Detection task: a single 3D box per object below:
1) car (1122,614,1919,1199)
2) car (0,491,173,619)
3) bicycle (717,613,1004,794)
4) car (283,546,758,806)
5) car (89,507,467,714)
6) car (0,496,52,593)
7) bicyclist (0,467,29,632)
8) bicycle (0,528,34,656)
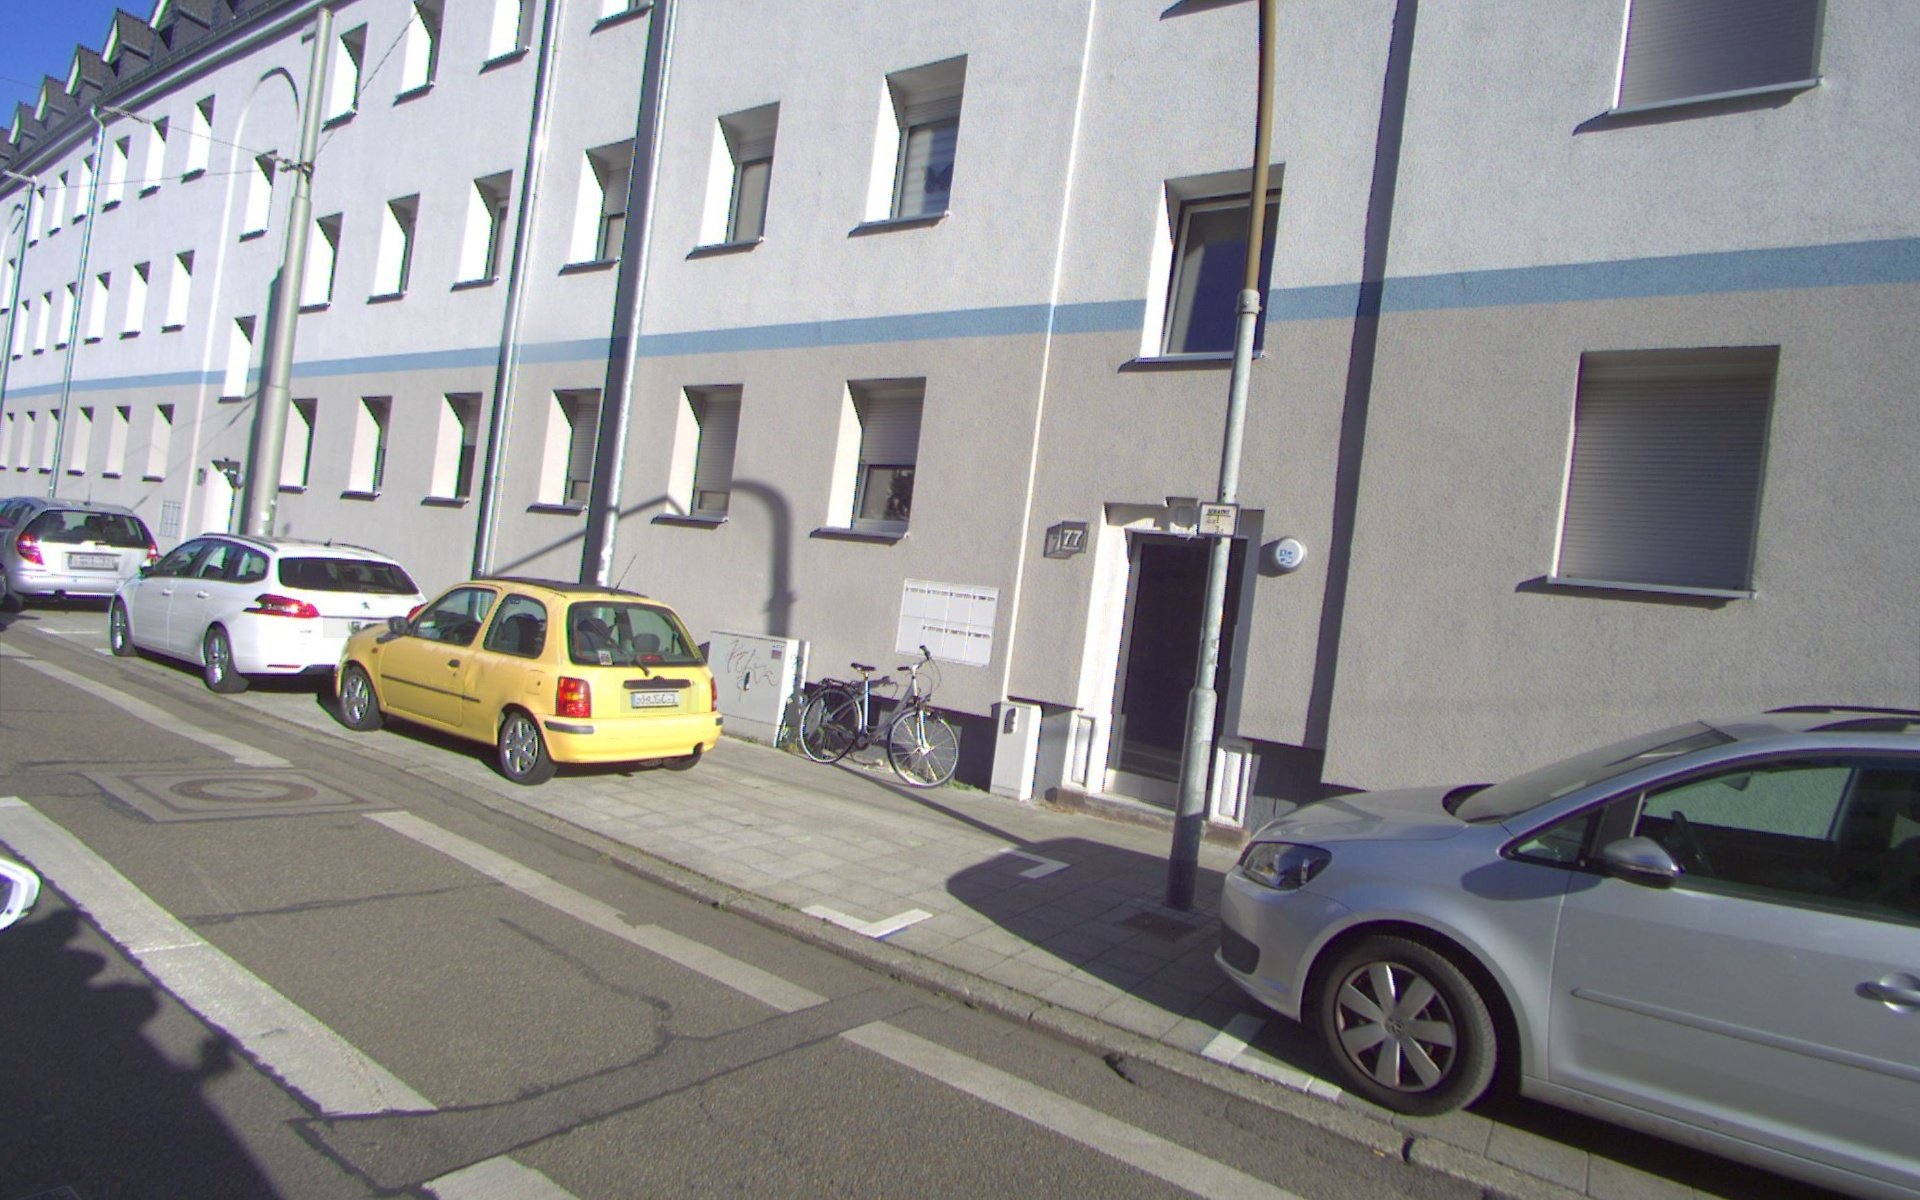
[{"bbox_3d":[3.115,1.181,3.584,4.549,1.686,1.757,7,0,31],"label":"car"},{"bbox_3d":[-13.570,-0.731,15.073,3.843,1.592,1.753,7,2,36],"label":"car"},{"bbox_3d":[-0.929,0.885,9.133,2.289,1.211,1.097,7,-1,33],"label":"bicycle"},{"bbox_3d":[-3.765,0.493,8.333,4.134,1.448,1.515,6,0,34],"label":"car"},{"bbox_3d":[-7.275,0.035,10.572,4.437,1.590,1.680,7,0,34],"label":"car"},{"bbox_3d":[-17.701,-1.132,17.801,3.945,1.557,1.591,7,1,36],"label":"car"},{"bbox_3d":[-10.532,-0.601,10.435,0.954,1.696,0.935,7,-1,33],"label":"bicyclist"},{"bbox_3d":[-10.764,-0.216,10.580,2.422,1.250,0.822,7,-2,33],"label":"bicycle"}]
